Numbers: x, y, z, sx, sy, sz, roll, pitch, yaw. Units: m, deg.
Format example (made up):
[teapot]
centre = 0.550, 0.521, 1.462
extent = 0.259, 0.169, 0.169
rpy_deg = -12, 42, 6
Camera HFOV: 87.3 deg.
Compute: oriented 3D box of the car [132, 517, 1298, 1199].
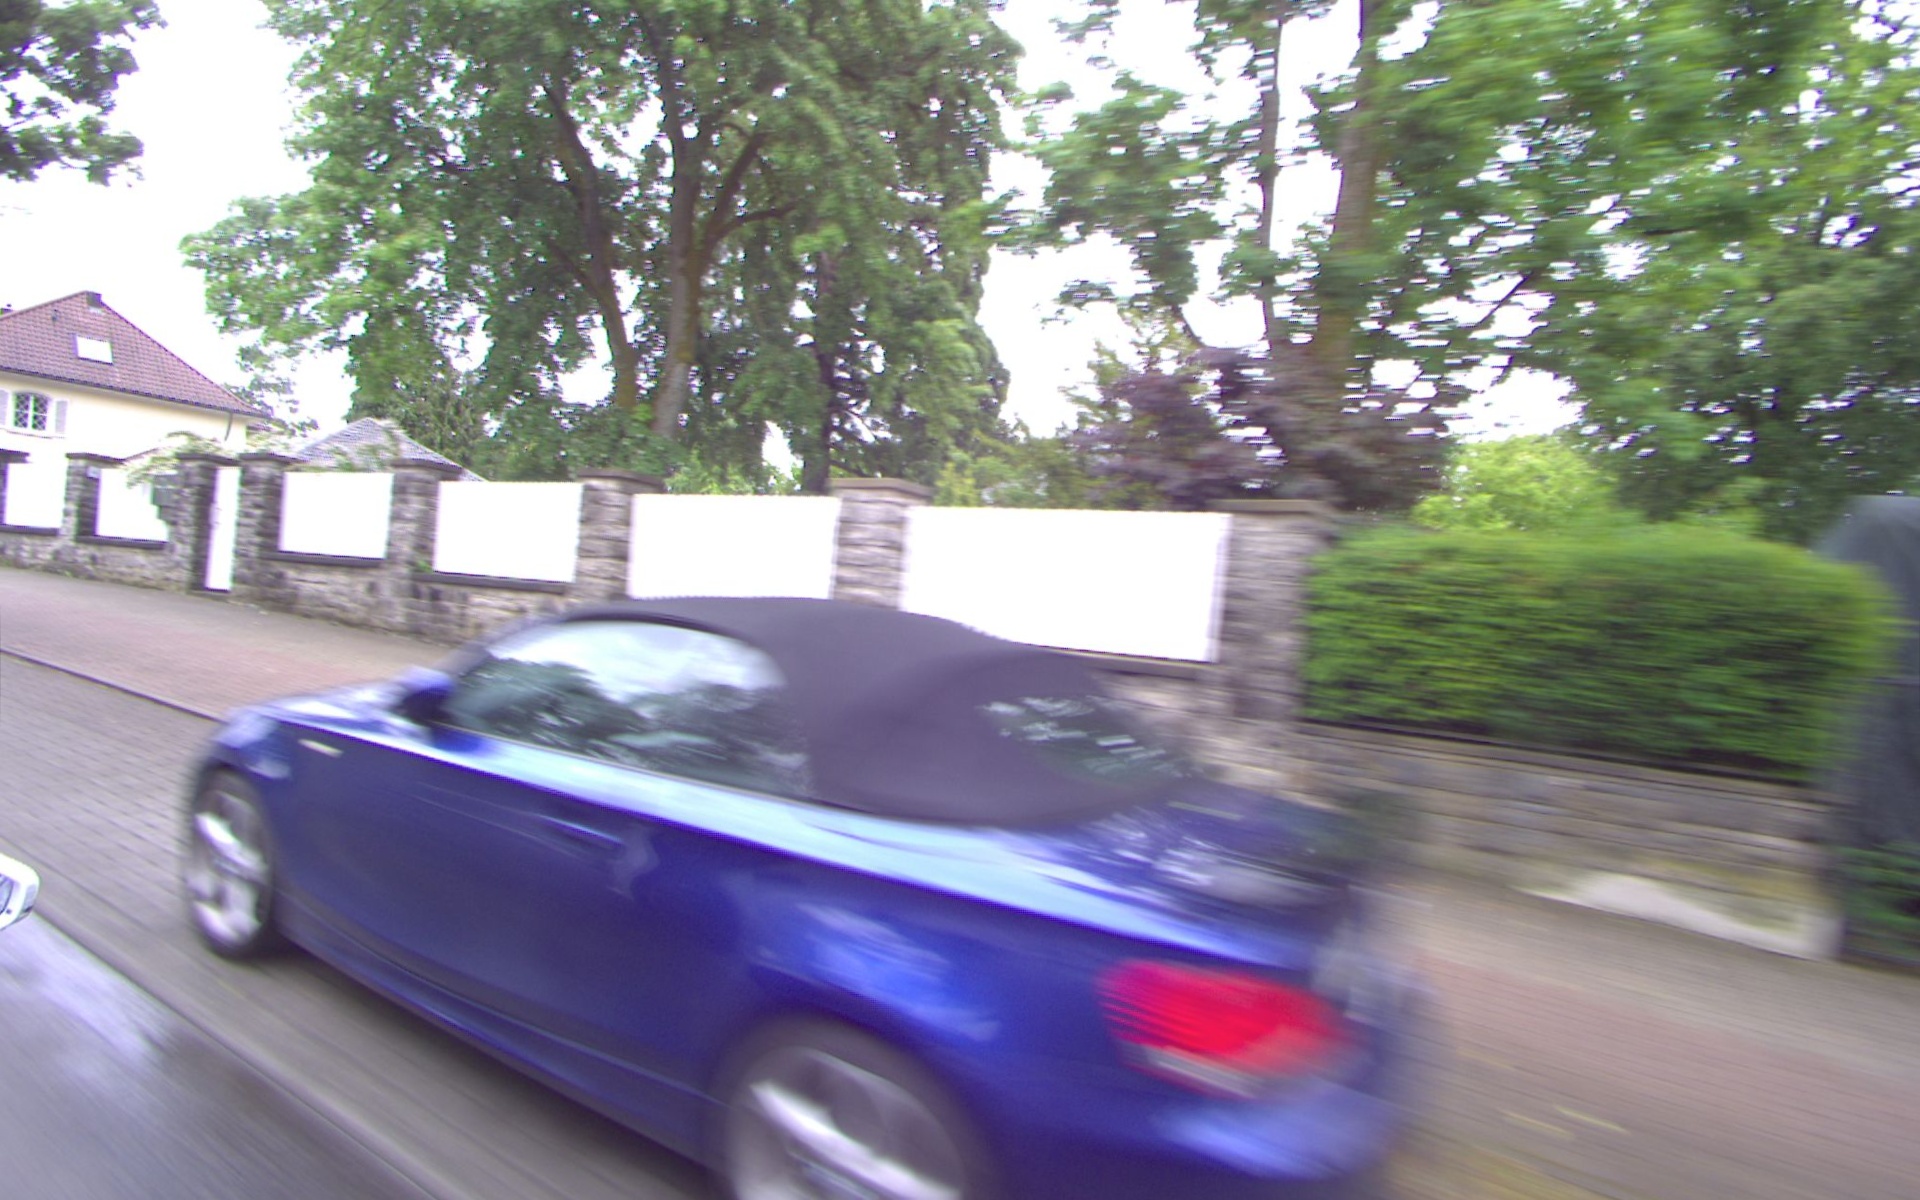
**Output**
[car]
centre = -1.025, 0.598, 3.450
extent = 3.765, 1.396, 1.642
rpy_deg = 7, 2, 32
